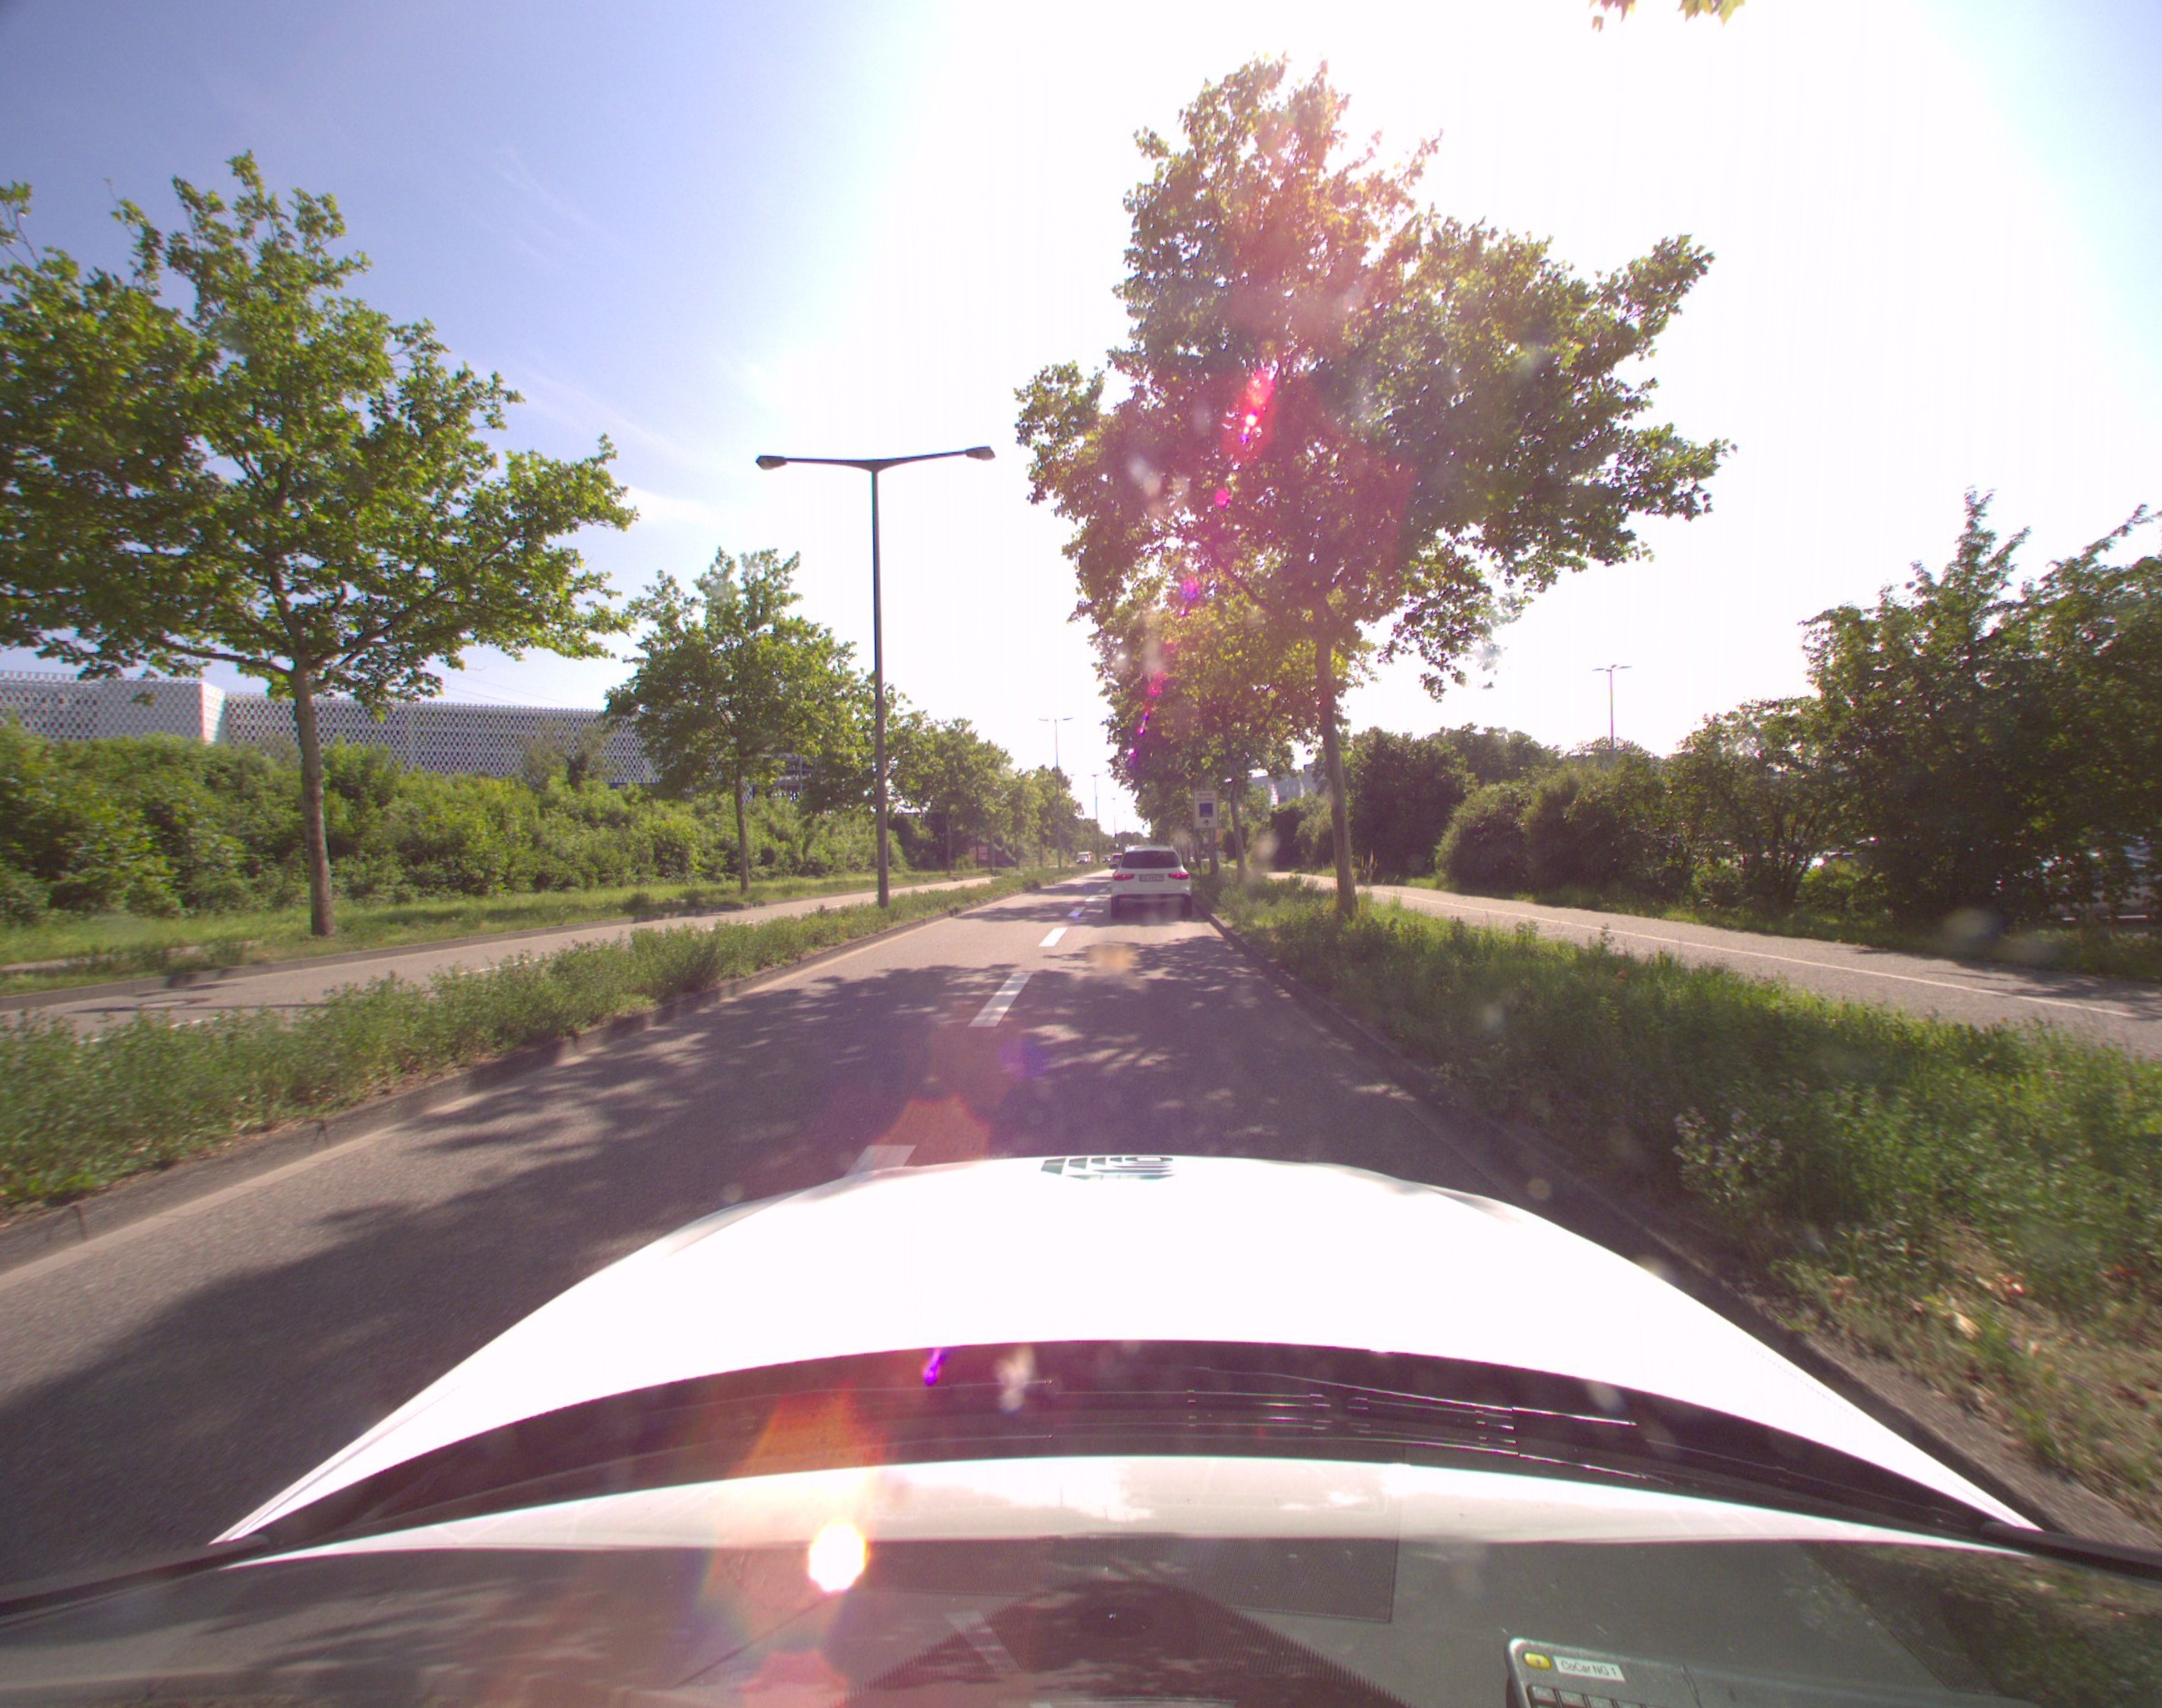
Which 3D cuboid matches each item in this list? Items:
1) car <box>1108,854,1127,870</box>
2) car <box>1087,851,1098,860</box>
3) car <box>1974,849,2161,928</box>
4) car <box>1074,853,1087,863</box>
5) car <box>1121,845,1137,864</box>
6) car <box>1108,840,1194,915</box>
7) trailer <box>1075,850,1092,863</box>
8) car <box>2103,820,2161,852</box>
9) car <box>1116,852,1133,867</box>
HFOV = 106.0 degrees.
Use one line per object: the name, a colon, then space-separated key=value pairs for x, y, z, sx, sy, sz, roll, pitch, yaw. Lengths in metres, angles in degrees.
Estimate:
car: x=3.986 y=0.848 z=87.445 sx=1.762 sy=1.647 sz=4.359 roll=-1 pitch=-1 yaw=6
car: x=2.382 y=0.373 z=171.898 sx=1.755 sy=1.790 sz=5.384 roll=0 pitch=0 yaw=6
car: x=20.891 y=0.692 z=16.955 sx=3.140 sy=1.455 sz=1.196 roll=-3 pitch=-1 yaw=2
car: x=-0.029 y=0.676 z=142.537 sx=1.707 sy=1.622 sz=4.368 roll=-2 pitch=-1 yaw=6
car: x=6.751 y=0.093 z=114.236 sx=2.071 sy=2.656 sz=4.882 roll=-1 pitch=-1 yaw=6
car: x=1.576 y=0.527 z=19.638 sx=1.846 sy=1.607 sz=4.001 roll=-1 pitch=0 yaw=2
trailer: x=0.479 y=0.411 z=147.486 sx=2.297 sy=2.265 sz=5.547 roll=-2 pitch=-1 yaw=6
car: x=53.274 y=-0.881 z=39.786 sx=1.759 sy=1.526 sz=3.960 roll=-1 pitch=0 yaw=-31
car: x=5.244 y=0.657 z=98.365 sx=1.762 sy=1.647 sz=4.091 roll=-1 pitch=-1 yaw=6
